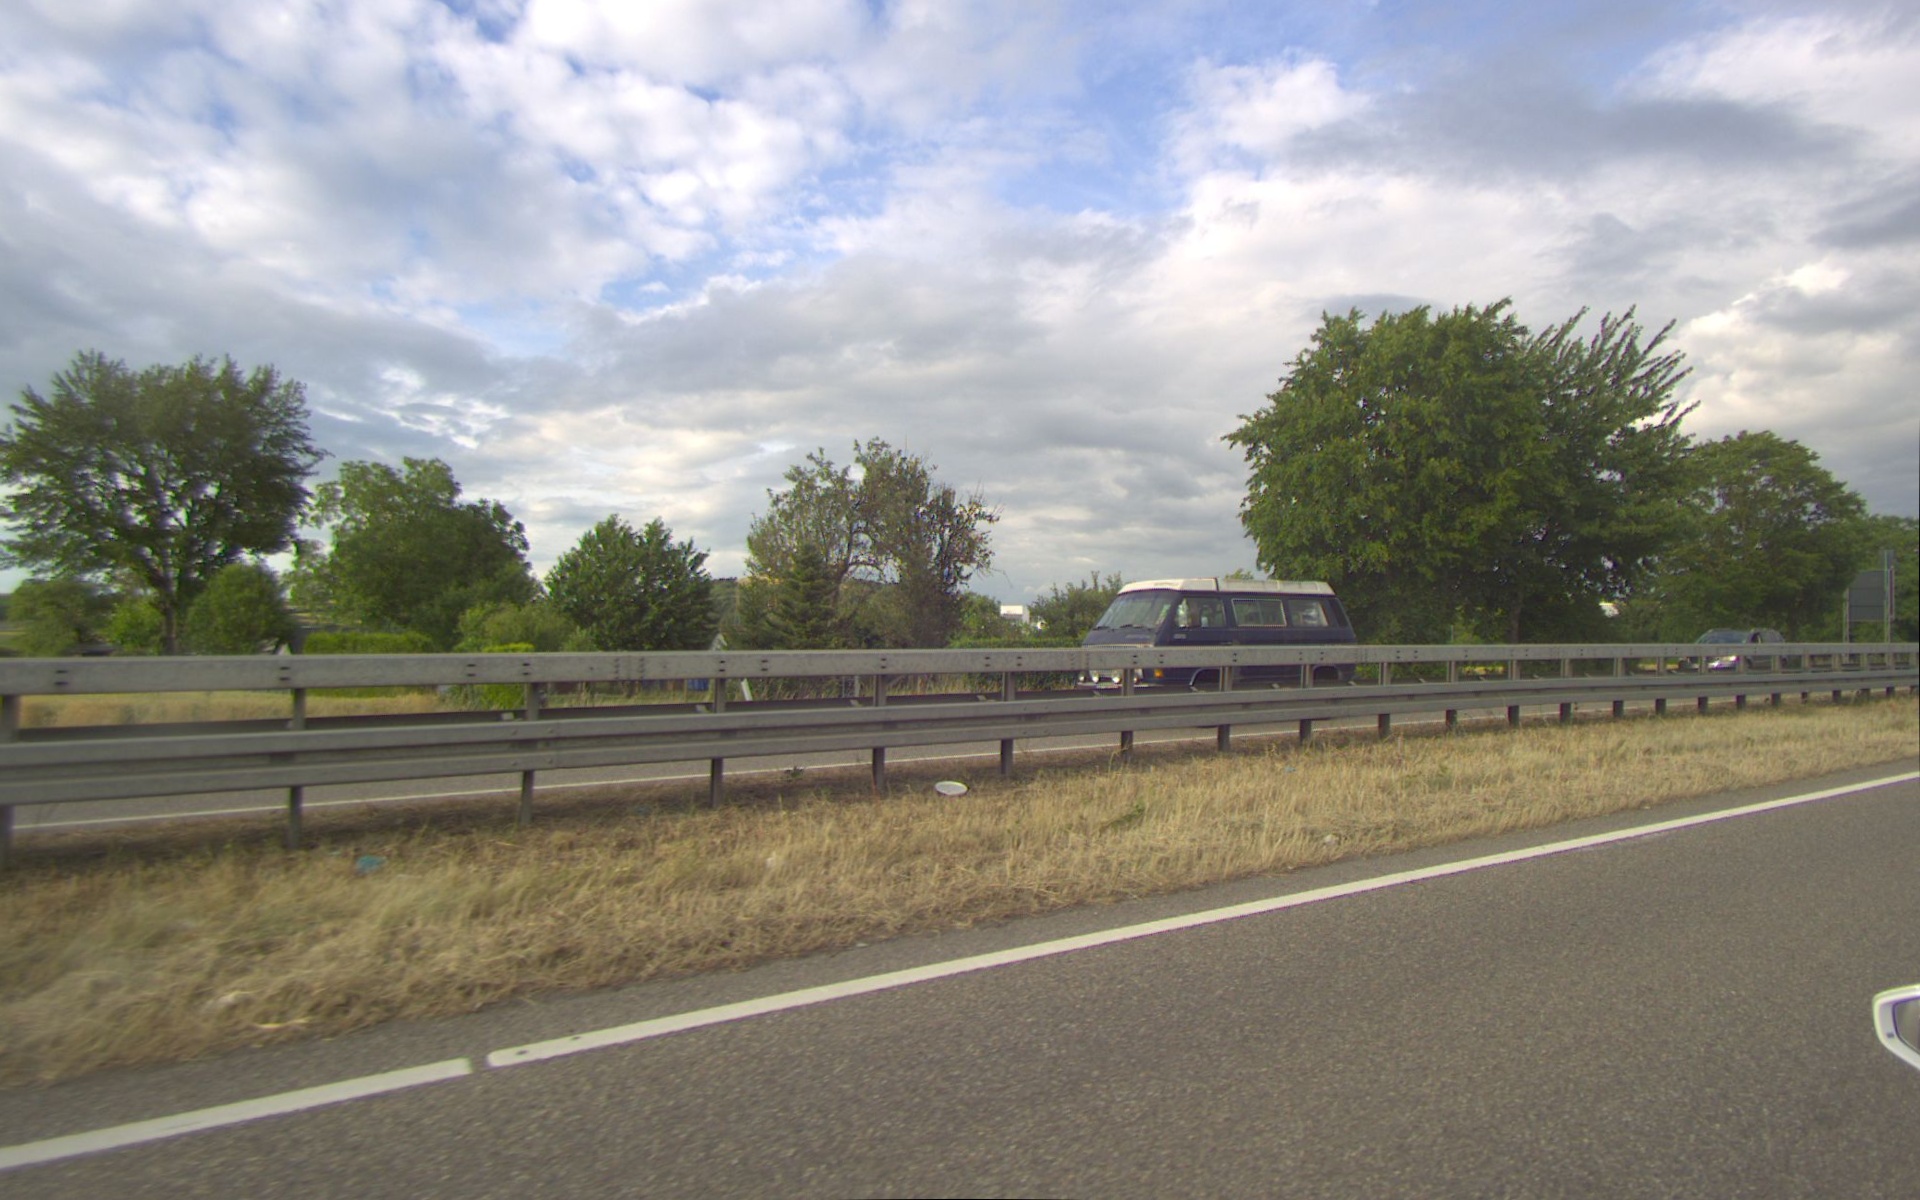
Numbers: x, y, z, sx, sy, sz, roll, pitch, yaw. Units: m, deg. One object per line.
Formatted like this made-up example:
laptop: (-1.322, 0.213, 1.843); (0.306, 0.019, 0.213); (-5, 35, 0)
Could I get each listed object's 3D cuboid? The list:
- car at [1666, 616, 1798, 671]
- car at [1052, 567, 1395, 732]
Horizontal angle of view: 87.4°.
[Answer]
car: (24.685, 1.371, 32.089); (4.430, 1.647, 1.789); (1, -2, -30)
car: (4.131, 0.734, 15.447); (5.256, 2.169, 1.984); (1, -2, -30)
